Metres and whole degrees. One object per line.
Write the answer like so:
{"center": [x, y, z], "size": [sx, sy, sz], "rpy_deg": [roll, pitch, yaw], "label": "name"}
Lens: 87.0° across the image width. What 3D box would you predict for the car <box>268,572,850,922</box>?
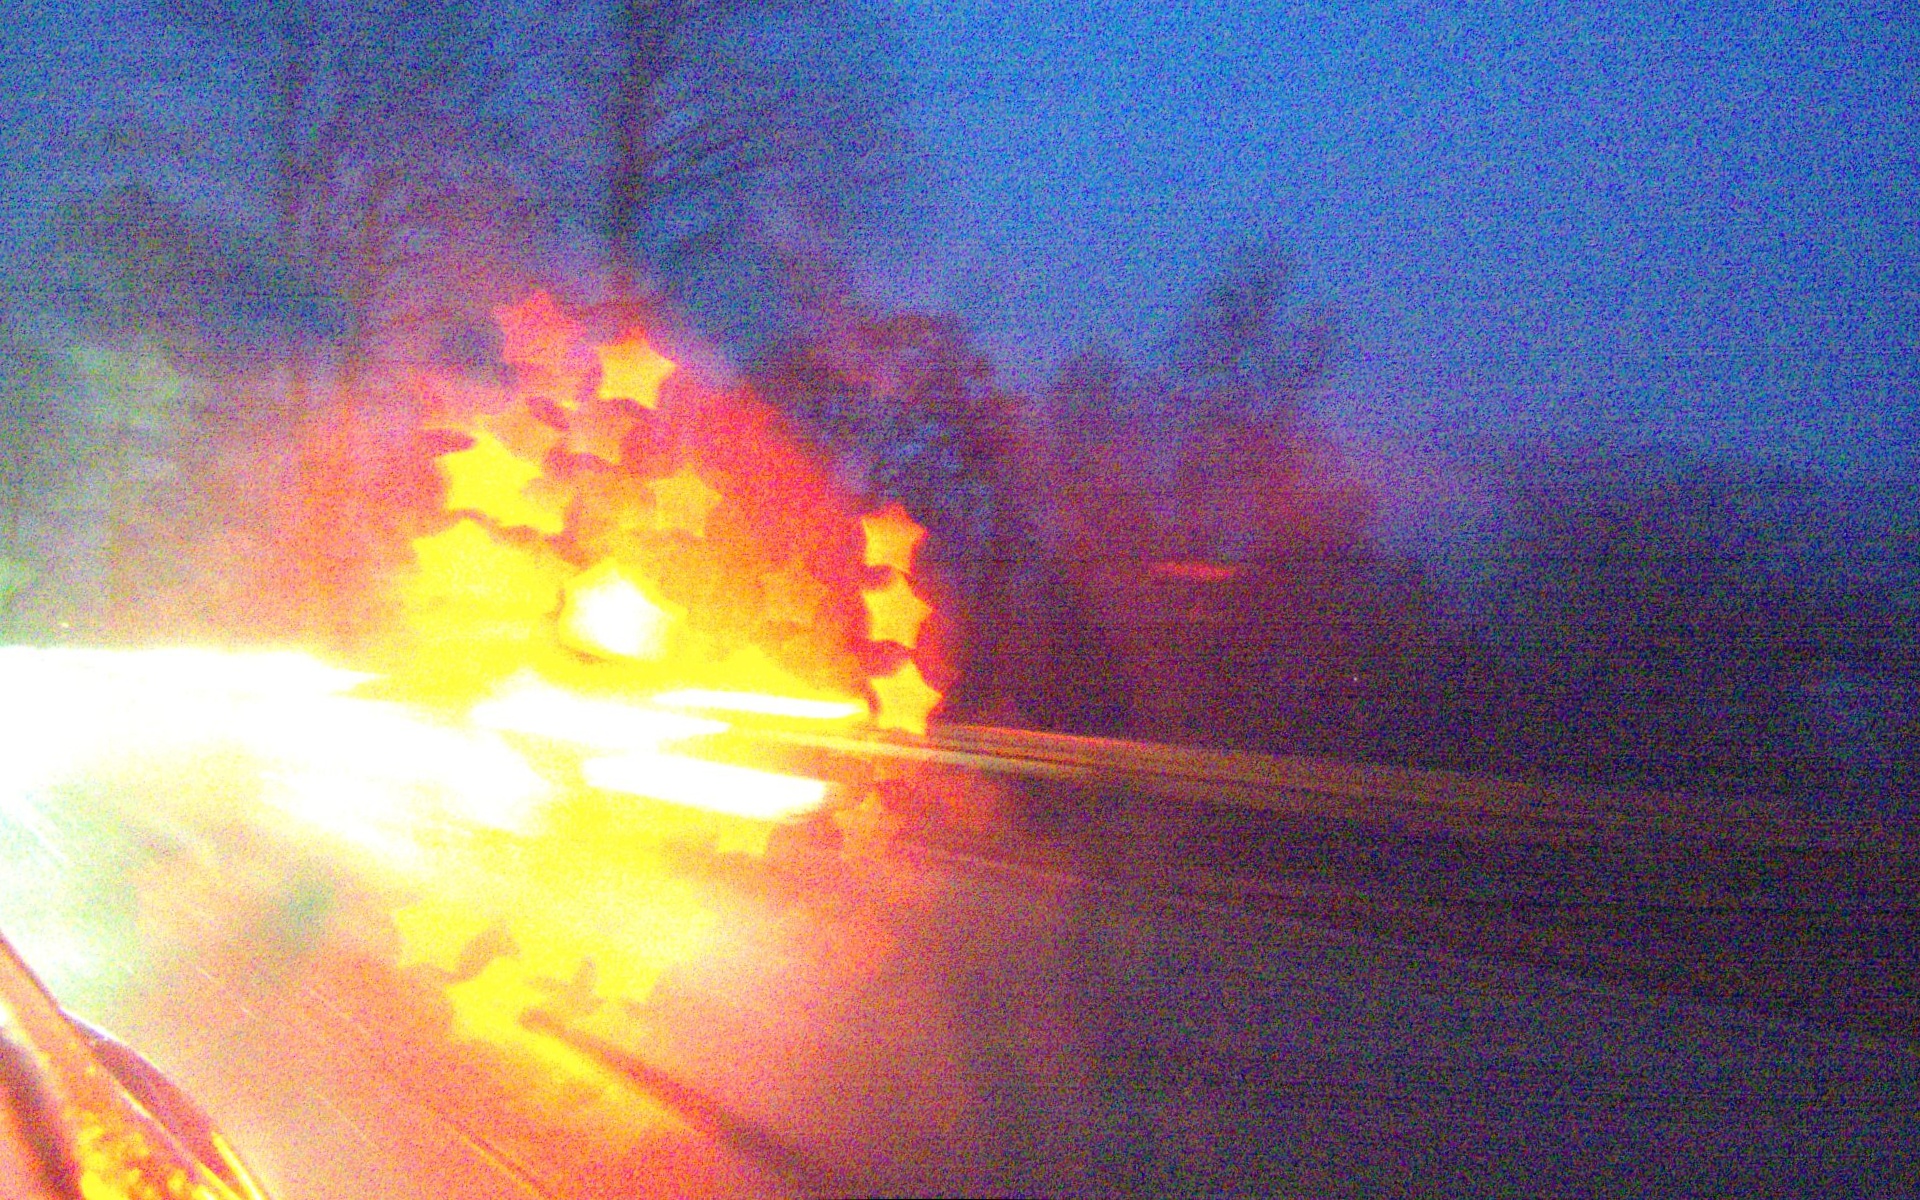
{"center": [-2.905, 0.775, 6.784], "size": [4.455, 1.592, 1.781], "rpy_deg": [-2, -4, 41], "label": "car"}
